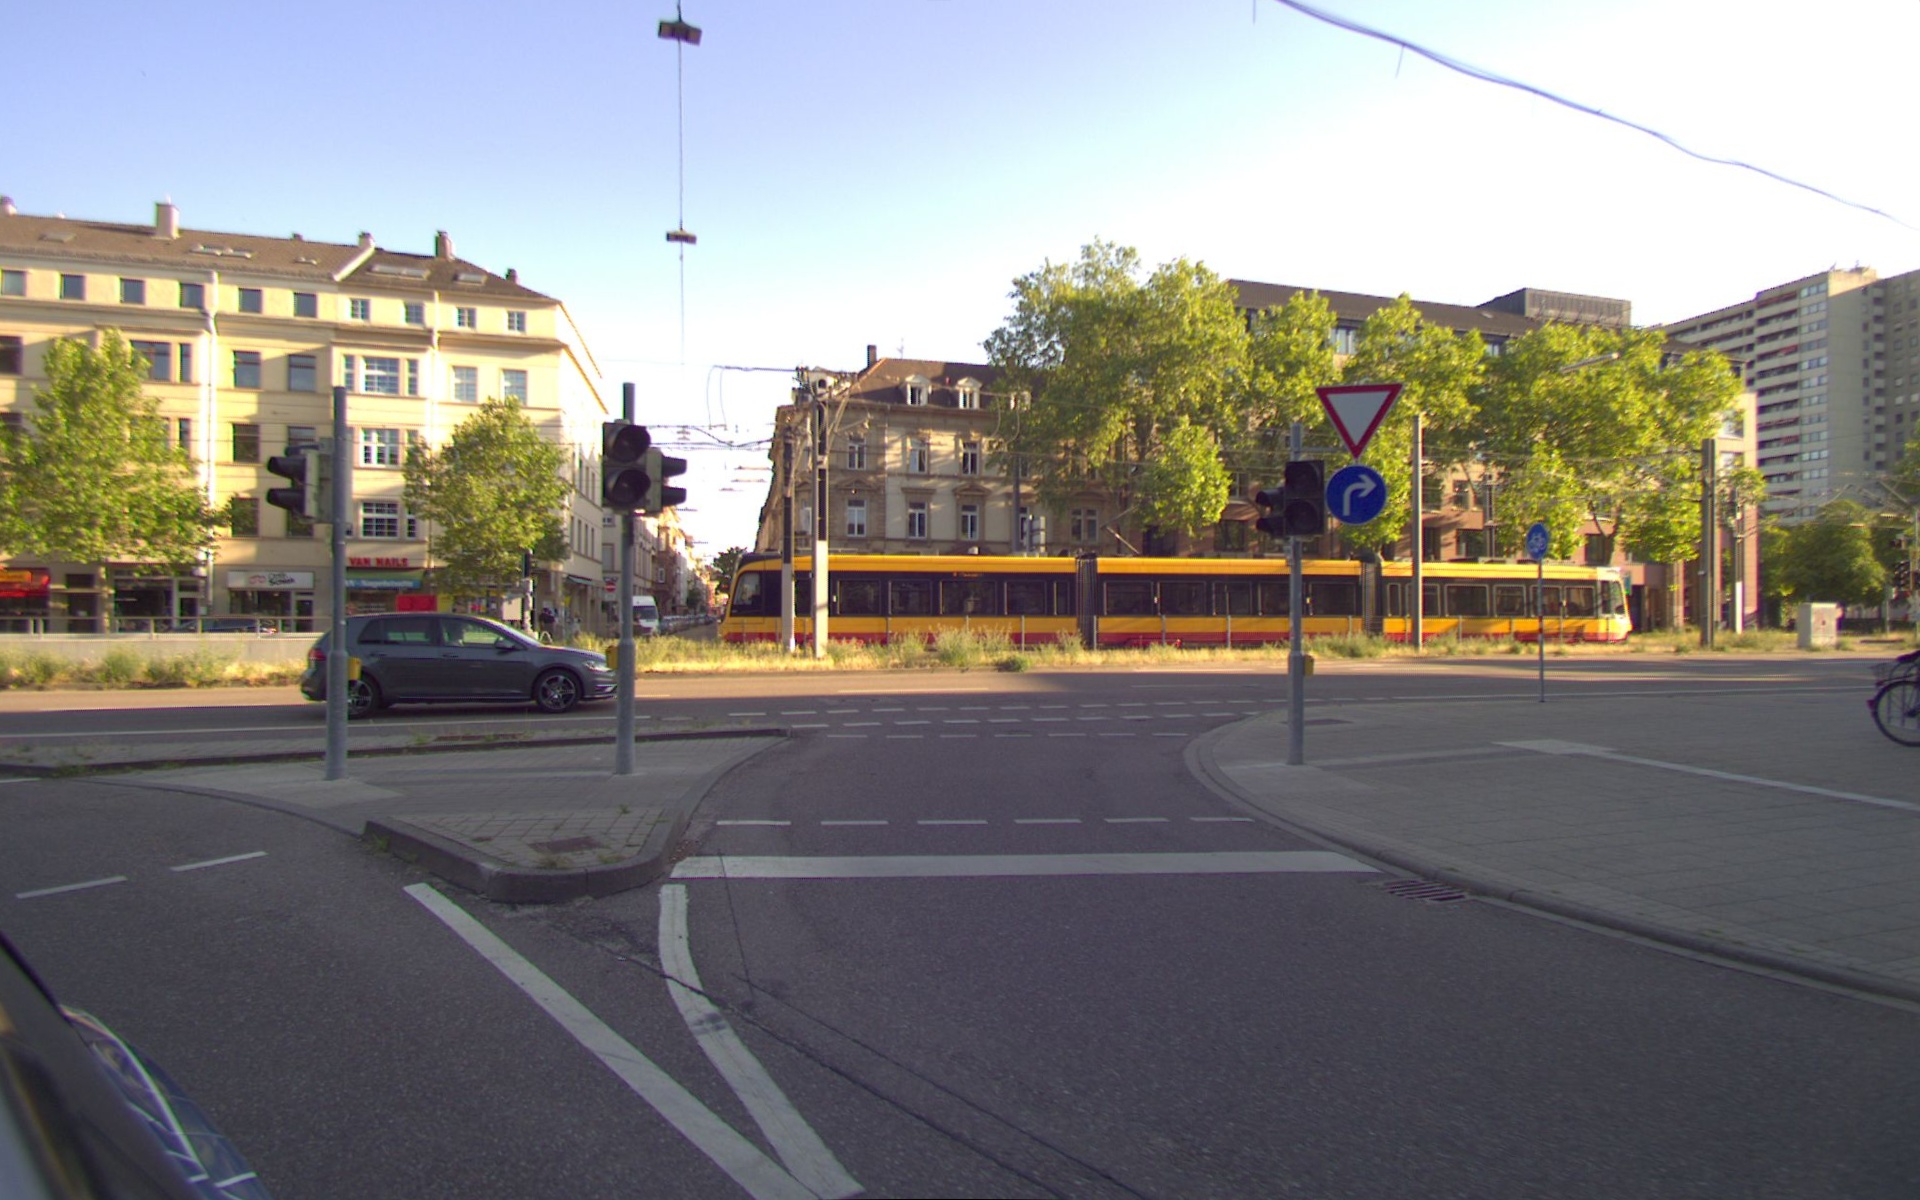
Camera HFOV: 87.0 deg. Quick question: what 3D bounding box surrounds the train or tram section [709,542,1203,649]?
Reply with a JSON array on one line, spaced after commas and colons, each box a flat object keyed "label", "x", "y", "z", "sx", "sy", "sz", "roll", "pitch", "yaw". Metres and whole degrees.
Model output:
[{"label": "train or tram section", "x": -0.077, "y": -0.069, "z": 36.551, "sx": 17.201, "sy": 3.586, "sz": 3.127, "roll": 0, "pitch": -1, "yaw": -8}]

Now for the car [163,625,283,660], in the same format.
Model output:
[{"label": "car", "x": -29.879, "y": 1.717, "z": 41.138, "sx": 3.647, "sy": 1.342, "sz": 1.463, "roll": 1, "pitch": 1, "yaw": -15}]

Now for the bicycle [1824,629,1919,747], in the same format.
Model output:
[{"label": "bicycle", "x": 10.696, "y": 0.918, "z": 10.716, "sx": 2.212, "sy": 1.205, "sz": 0.868, "roll": 0, "pitch": -2, "yaw": 7}]

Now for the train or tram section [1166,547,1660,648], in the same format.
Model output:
[{"label": "train or tram section", "x": 17.871, "y": -0.003, "z": 39.664, "sx": 19.601, "sy": 3.586, "sz": 3.130, "roll": 0, "pitch": -1, "yaw": -12}]

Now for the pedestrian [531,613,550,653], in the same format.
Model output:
[{"label": "pedestrian", "x": -20.273, "y": 1.588, "z": 48.886, "sx": 0.584, "sy": 1.933, "sz": 0.626, "roll": 1, "pitch": 1, "yaw": 31}]

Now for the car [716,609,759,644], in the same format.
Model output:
[{"label": "car", "x": -12.974, "y": 1.532, "z": 58.873, "sx": 1.952, "sy": 1.902, "sz": 4.712, "roll": 1, "pitch": -1, "yaw": -18}]

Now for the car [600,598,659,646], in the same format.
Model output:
[{"label": "car", "x": -16.969, "y": 1.129, "z": 51.686, "sx": 2.427, "sy": 2.284, "sz": 7.315, "roll": 1, "pitch": -1, "yaw": -22}]

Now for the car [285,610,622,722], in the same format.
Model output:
[{"label": "car", "x": -7.157, "y": 0.883, "z": 14.784, "sx": 4.172, "sy": 1.437, "sz": 1.776, "roll": 0, "pitch": 0, "yaw": -17}]

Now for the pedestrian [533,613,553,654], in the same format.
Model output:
[{"label": "pedestrian", "x": -19.919, "y": 1.603, "z": 48.321, "sx": 0.582, "sy": 1.933, "sz": 0.628, "roll": 1, "pitch": 1, "yaw": 21}]
